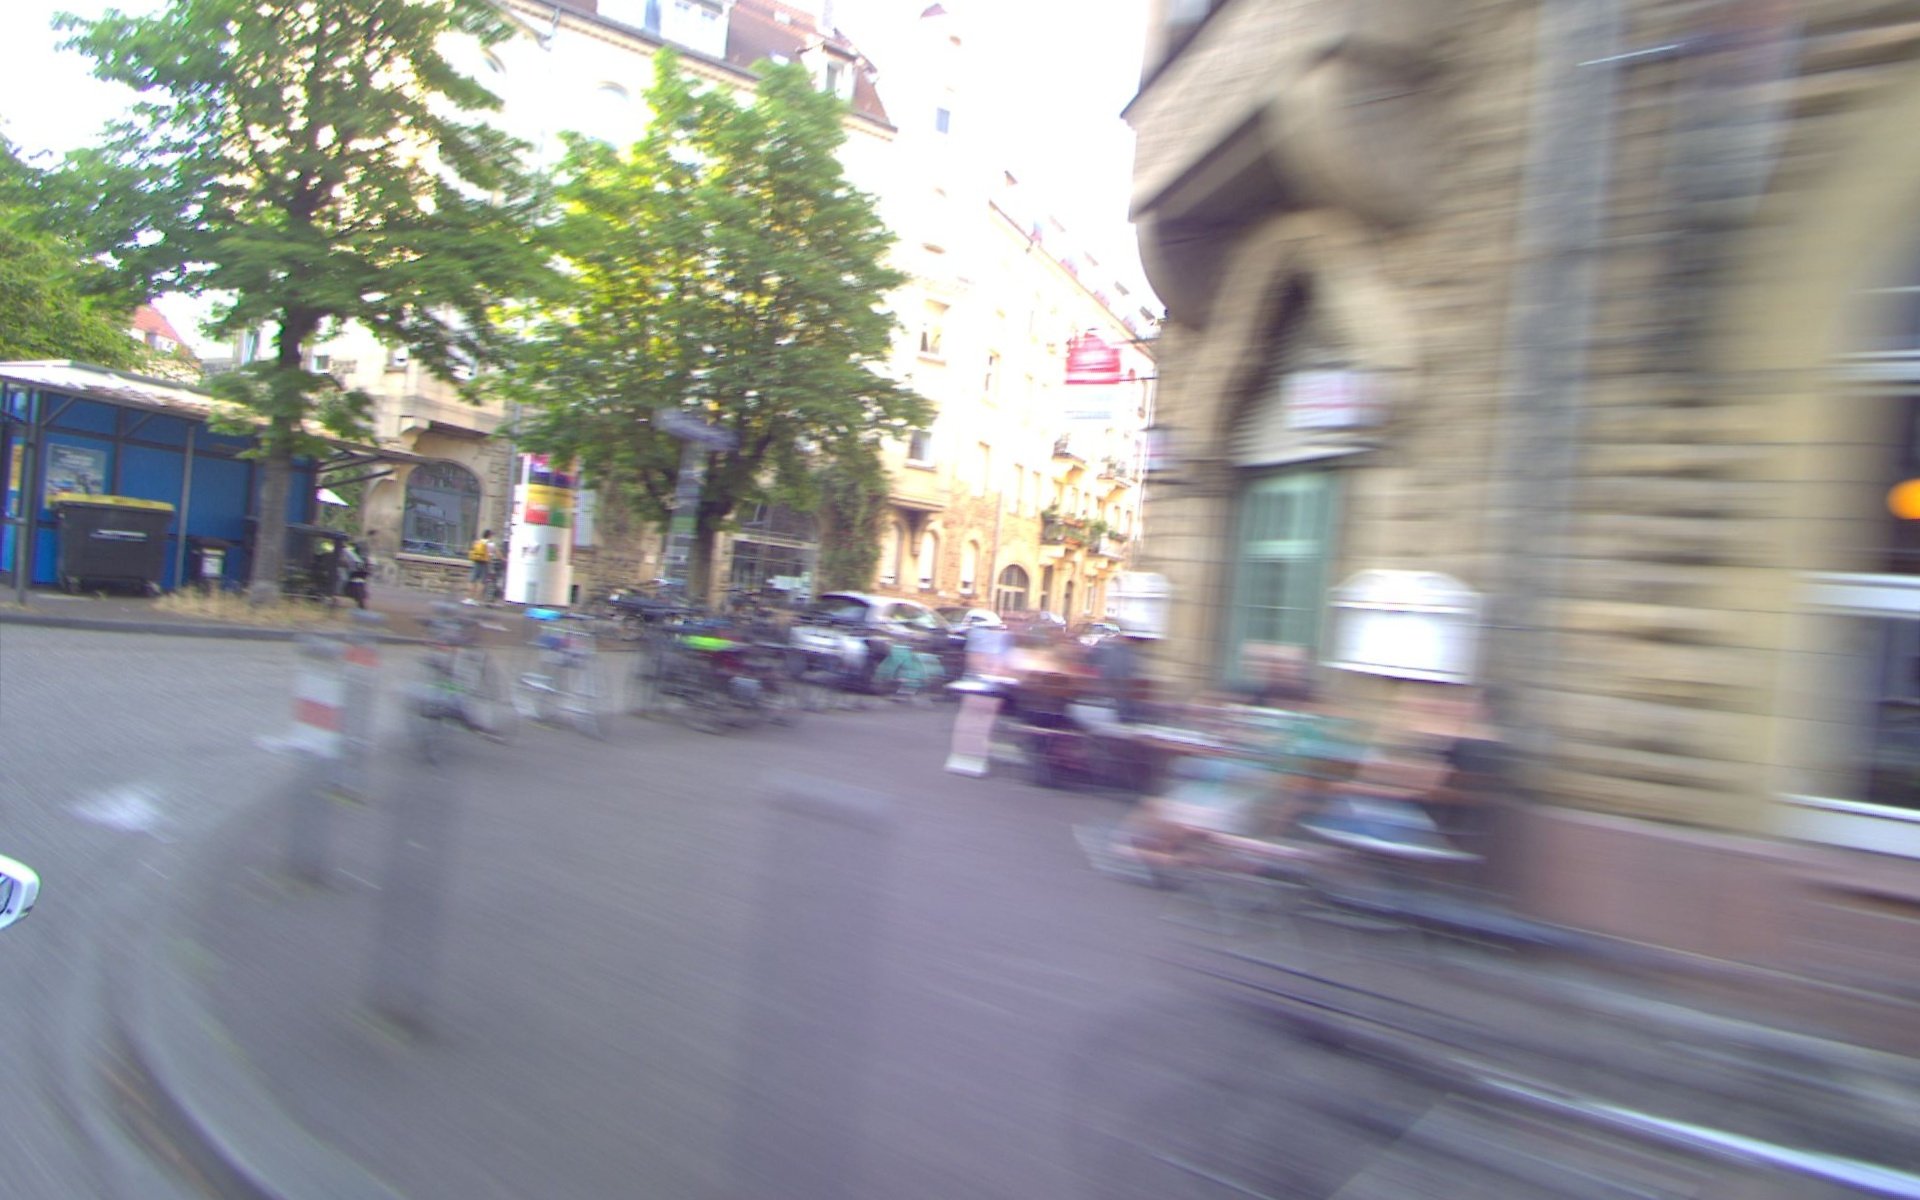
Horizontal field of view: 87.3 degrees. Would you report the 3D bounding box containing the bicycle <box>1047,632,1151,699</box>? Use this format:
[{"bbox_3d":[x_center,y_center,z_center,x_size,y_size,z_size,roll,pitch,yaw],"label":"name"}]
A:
[{"bbox_3d":[2.658,1.248,19.349,1.802,1.042,0.545,7,1,26],"label":"bicycle"}]

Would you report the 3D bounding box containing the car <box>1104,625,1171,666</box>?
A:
[{"bbox_3d":[8.270,2.131,46.647,1.794,1.501,4.124,7,-1,27],"label":"car"}]

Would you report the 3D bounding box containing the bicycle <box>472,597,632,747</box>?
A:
[{"bbox_3d":[-3.369,0.557,8.235,1.682,0.992,0.445,7,1,42],"label":"bicycle"}]

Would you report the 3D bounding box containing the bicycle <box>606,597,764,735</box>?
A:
[{"bbox_3d":[-2.684,0.601,9.690,1.809,1.084,0.474,7,1,42],"label":"bicycle"}]

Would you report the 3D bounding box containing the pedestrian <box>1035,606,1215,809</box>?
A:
[{"bbox_3d":[1.246,0.796,7.794,0.829,1.414,1.099,5,0,-21],"label":"pedestrian"}]

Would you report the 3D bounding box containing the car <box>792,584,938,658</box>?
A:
[{"bbox_3d":[-2.372,0.600,26.136,1.795,1.501,3.904,7,-1,28],"label":"car"}]

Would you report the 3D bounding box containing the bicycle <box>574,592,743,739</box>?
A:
[{"bbox_3d":[-2.769,0.559,9.117,1.809,1.080,0.511,7,1,42],"label":"bicycle"}]

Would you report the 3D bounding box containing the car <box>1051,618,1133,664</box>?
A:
[{"bbox_3d":[5.519,1.720,41.674,1.795,1.501,4.069,7,-1,30],"label":"car"}]

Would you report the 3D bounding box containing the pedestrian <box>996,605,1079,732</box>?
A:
[{"bbox_3d":[0.964,0.825,12.356,0.779,1.422,0.715,6,1,12],"label":"pedestrian"}]

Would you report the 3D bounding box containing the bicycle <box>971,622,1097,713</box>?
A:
[{"bbox_3d":[1.153,1.047,15.831,1.802,1.175,0.545,7,1,26],"label":"bicycle"}]

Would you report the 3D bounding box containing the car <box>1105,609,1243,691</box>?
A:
[{"bbox_3d":[4.956,1.184,22.886,1.796,1.501,3.901,7,-1,31],"label":"car"}]

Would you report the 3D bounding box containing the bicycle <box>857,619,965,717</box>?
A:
[{"bbox_3d":[-0.703,0.897,13.679,0.585,1.091,1.820,6,0,-30],"label":"bicycle"}]

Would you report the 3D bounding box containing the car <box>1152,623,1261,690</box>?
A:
[{"bbox_3d":[6.831,1.598,27.578,1.795,1.501,3.902,7,-1,30],"label":"car"}]

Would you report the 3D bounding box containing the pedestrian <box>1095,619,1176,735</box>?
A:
[{"bbox_3d":[2.318,1.003,13.270,0.759,1.414,0.616,5,0,33],"label":"pedestrian"}]

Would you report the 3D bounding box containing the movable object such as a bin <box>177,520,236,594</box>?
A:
[{"bbox_3d":[-11.145,-0.627,14.881,0.479,1.014,0.480,7,1,30],"label":"movable object such as a bin"}]

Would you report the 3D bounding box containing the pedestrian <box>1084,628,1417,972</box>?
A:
[{"bbox_3d":[1.291,0.862,4.822,0.828,1.303,1.414,5,2,-14],"label":"pedestrian"}]

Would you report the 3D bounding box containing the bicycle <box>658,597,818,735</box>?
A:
[{"bbox_3d":[-2.244,0.621,10.004,1.809,1.126,0.500,7,1,42],"label":"bicycle"}]

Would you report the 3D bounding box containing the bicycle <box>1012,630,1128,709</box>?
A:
[{"bbox_3d":[1.876,1.179,17.297,1.802,1.121,0.545,7,1,26],"label":"bicycle"}]

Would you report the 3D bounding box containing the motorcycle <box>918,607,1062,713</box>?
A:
[{"bbox_3d":[0.443,0.877,15.167,1.966,1.370,0.639,5,0,23],"label":"motorcycle"}]

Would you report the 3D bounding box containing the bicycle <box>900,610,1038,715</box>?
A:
[{"bbox_3d":[0.125,0.882,14.606,1.801,1.278,0.585,7,1,21],"label":"bicycle"}]

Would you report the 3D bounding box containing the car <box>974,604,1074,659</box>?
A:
[{"bbox_3d":[2.280,1.121,35.111,1.796,1.501,3.902,7,-1,30],"label":"car"}]

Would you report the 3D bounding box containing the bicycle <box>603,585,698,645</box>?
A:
[{"bbox_3d":[-5.875,0.302,19.174,0.569,1.008,1.736,6,0,29],"label":"bicycle"}]

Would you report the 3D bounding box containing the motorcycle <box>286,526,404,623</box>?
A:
[{"bbox_3d":[-10.728,-0.451,17.533,1.850,1.472,0.868,7,1,30],"label":"motorcycle"}]

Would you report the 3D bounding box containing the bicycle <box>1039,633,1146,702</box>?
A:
[{"bbox_3d":[2.459,1.247,18.740,1.802,1.042,0.545,7,1,26],"label":"bicycle"}]

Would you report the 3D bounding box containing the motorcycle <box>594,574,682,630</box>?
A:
[{"bbox_3d":[-6.977,0.062,21.888,0.569,1.067,1.829,6,0,29],"label":"motorcycle"}]

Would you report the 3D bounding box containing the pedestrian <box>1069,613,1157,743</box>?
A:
[{"bbox_3d":[1.720,0.859,11.247,0.655,1.337,0.731,7,1,25],"label":"pedestrian"}]

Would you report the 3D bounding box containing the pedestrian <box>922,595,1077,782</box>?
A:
[{"bbox_3d":[0.302,0.703,8.413,0.829,1.414,1.099,5,0,-20],"label":"pedestrian"}]

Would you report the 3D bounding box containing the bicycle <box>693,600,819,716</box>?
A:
[{"bbox_3d":[-2.286,0.637,11.522,0.547,1.166,1.835,6,0,15],"label":"bicycle"}]

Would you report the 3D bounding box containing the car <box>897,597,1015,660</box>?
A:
[{"bbox_3d":[-0.040,0.917,30.528,1.795,1.501,4.000,7,-1,28],"label":"car"}]

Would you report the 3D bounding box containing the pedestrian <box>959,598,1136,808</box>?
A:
[{"bbox_3d":[0.624,0.736,7.549,0.829,1.414,1.099,5,0,-21],"label":"pedestrian"}]

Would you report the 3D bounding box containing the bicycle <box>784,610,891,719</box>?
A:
[{"bbox_3d":[-1.450,0.754,12.229,0.528,1.176,1.835,6,0,15],"label":"bicycle"}]

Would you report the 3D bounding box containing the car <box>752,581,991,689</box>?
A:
[{"bbox_3d":[-1.316,0.614,16.617,1.853,1.401,4.029,6,0,30],"label":"car"}]

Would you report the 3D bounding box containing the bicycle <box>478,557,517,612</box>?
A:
[{"bbox_3d":[-10.845,-0.381,23.620,0.626,1.203,1.905,5,1,-21],"label":"bicycle"}]

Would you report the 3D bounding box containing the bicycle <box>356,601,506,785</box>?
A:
[{"bbox_3d":[-3.492,0.564,6.750,0.425,1.052,1.472,6,0,-12],"label":"bicycle"}]

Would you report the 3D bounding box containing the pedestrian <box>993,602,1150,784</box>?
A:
[{"bbox_3d":[0.929,0.766,8.656,0.829,1.414,1.099,5,0,-20],"label":"pedestrian"}]

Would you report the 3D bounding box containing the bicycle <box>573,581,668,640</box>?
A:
[{"bbox_3d":[-6.552,0.229,19.488,0.569,1.008,1.736,6,0,29],"label":"bicycle"}]

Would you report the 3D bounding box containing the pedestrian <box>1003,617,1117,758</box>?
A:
[{"bbox_3d":[1.034,0.876,10.364,0.862,1.299,0.705,7,1,24],"label":"pedestrian"}]

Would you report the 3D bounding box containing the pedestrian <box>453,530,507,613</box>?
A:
[{"bbox_3d":[-11.204,-0.659,23.507,0.967,1.812,1.000,5,1,-23],"label":"pedestrian"}]

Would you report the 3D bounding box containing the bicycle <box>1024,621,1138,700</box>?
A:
[{"bbox_3d":[2.131,1.053,17.776,1.802,1.152,0.590,7,1,25],"label":"bicycle"}]

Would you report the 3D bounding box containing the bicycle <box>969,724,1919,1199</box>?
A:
[{"bbox_3d":[1.095,0.967,1.526,2.079,1.167,0.684,7,4,30],"label":"bicycle"}]

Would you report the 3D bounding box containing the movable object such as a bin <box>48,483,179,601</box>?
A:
[{"bbox_3d":[-11.639,-0.777,13.844,0.754,1.496,1.220,7,4,37],"label":"movable object such as a bin"}]

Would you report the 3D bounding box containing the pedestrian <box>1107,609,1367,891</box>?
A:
[{"bbox_3d":[1.574,0.838,5.875,0.996,1.415,0.893,6,3,-14],"label":"pedestrian"}]

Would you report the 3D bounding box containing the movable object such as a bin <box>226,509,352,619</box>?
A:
[{"bbox_3d":[-10.539,-0.552,15.838,0.807,1.491,1.283,7,-3,37],"label":"movable object such as a bin"}]

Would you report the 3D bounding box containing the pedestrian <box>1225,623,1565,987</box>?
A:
[{"bbox_3d":[2.057,0.893,4.849,0.833,1.415,1.093,4,3,-35],"label":"pedestrian"}]

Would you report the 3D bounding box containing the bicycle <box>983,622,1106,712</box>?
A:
[{"bbox_3d":[1.368,1.071,16.326,1.802,1.210,0.545,7,1,26],"label":"bicycle"}]
